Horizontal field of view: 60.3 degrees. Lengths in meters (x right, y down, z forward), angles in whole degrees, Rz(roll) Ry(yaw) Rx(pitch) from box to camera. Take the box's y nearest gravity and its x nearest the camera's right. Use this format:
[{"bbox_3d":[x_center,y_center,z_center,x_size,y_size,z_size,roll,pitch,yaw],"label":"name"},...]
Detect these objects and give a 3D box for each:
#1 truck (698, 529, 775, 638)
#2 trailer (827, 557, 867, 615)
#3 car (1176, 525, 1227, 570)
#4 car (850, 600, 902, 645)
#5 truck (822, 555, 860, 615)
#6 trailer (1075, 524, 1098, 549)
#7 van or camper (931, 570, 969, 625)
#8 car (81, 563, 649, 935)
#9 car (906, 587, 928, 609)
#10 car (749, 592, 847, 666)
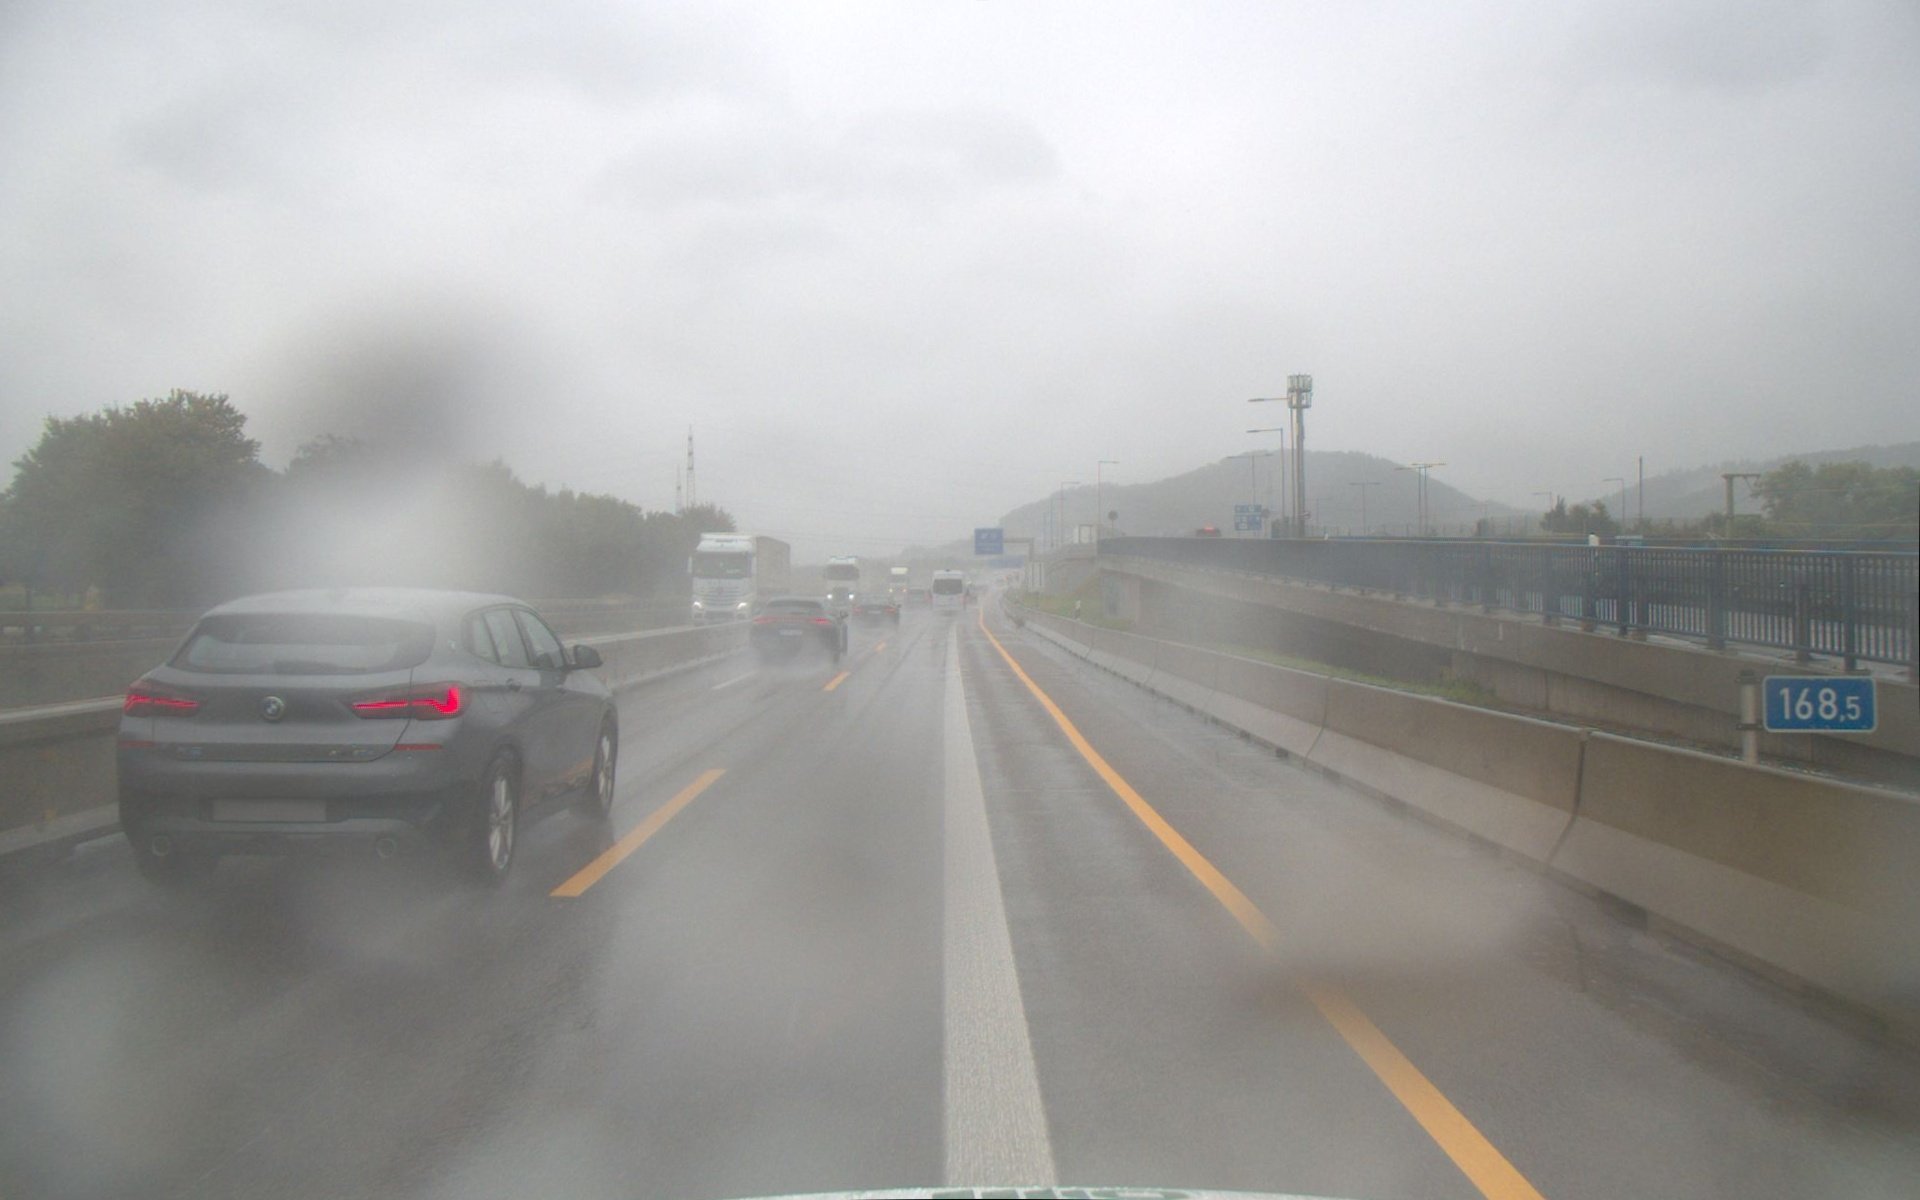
[{"bbox_3d":[-9.777,-0.647,72.963,2.451,4.541,6.880,1,-1,-1],"label":"truck"},{"bbox_3d":[-9.575,-1.070,141.443,2.495,4.670,12.009,1,-1,0],"label":"trailer"},{"bbox_3d":[12.497,-2.699,85.912,1.953,2.180,3.999,1,-1,-1],"label":"car"},{"bbox_3d":[-3.195,0.837,63.548,1.807,1.517,4.261,-2,1,-1],"label":"car"},{"bbox_3d":[-9.627,-1.153,134.836,2.507,4.684,6.452,1,-1,1],"label":"truck"},{"bbox_3d":[14.269,-7.174,187.340,1.952,2.143,13.771,1,-1,2],"label":"trailer"},{"bbox_3d":[-0.543,-0.101,88.714,1.956,2.826,4.048,1,-1,-1],"label":"van or camper"},{"bbox_3d":[-3.073,0.654,9.717,1.666,1.626,4.844,1,0,-1],"label":"car"},{"bbox_3d":[-3.051,-0.129,117.546,1.535,1.506,2.821,-2,-1,-1],"label":"car"},{"bbox_3d":[-3.511,0.631,36.428,1.807,1.517,4.260,1,-1,-1],"label":"car"}]
